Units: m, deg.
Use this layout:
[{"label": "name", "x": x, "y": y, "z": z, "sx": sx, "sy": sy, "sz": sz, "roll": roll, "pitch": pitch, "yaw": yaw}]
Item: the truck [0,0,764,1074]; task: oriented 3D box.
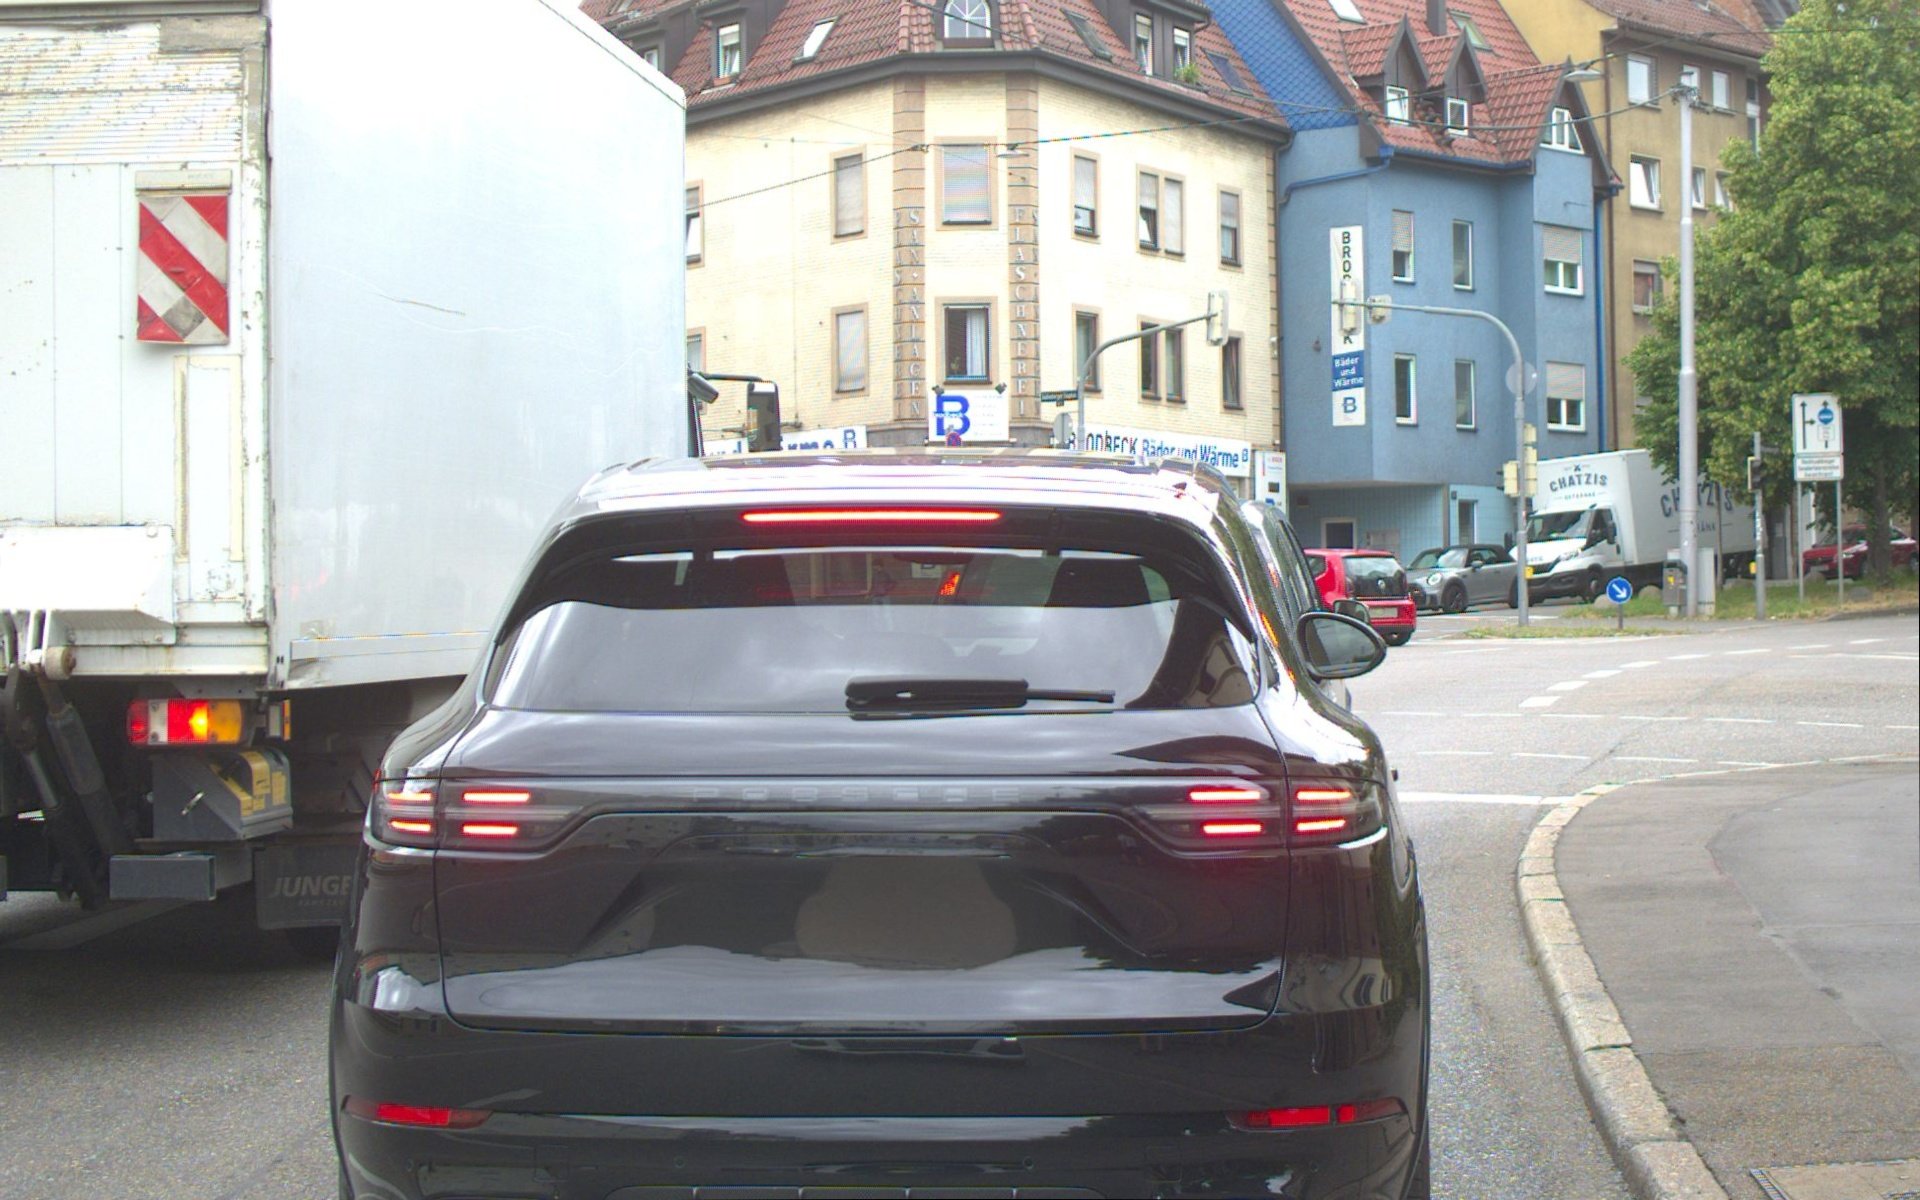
[{"label": "truck", "x": -2.783, "y": -0.620, "z": 13.334, "sx": 2.769, "sy": 3.562, "sz": 8.063, "roll": 0, "pitch": 1, "yaw": 6}]

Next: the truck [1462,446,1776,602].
[{"label": "truck", "x": 15.136, "y": -1.676, "z": 78.396, "sx": 2.880, "sy": 3.328, "sz": 8.772, "roll": 2, "pitch": 1, "yaw": 41}]

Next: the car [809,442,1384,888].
[{"label": "car", "x": 0.747, "y": 0.218, "z": 15.060, "sx": 1.994, "sy": 1.678, "sz": 3.998, "roll": 0, "pitch": 1, "yaw": 10}]

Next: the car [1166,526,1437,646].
[{"label": "car", "x": 5.079, "y": -0.229, "z": 51.524, "sx": 1.710, "sy": 1.656, "sz": 3.999, "roll": 1, "pitch": 1, "yaw": -38}]

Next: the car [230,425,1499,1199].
[{"label": "car", "x": -0.256, "y": 0.512, "z": 7.376, "sx": 1.978, "sy": 1.678, "sz": 4.001, "roll": 0, "pitch": 2, "yaw": -3}]

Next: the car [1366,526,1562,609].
[{"label": "car", "x": 10.600, "y": -0.688, "z": 72.220, "sx": 3.989, "sy": 1.678, "sz": 1.999, "roll": -1, "pitch": 1, "yaw": -42}]

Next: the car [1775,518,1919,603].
[{"label": "car", "x": 22.355, "y": -0.979, "z": 86.164, "sx": 1.999, "sy": 2.007, "sz": 3.990, "roll": 2, "pitch": 1, "yaw": 43}]
